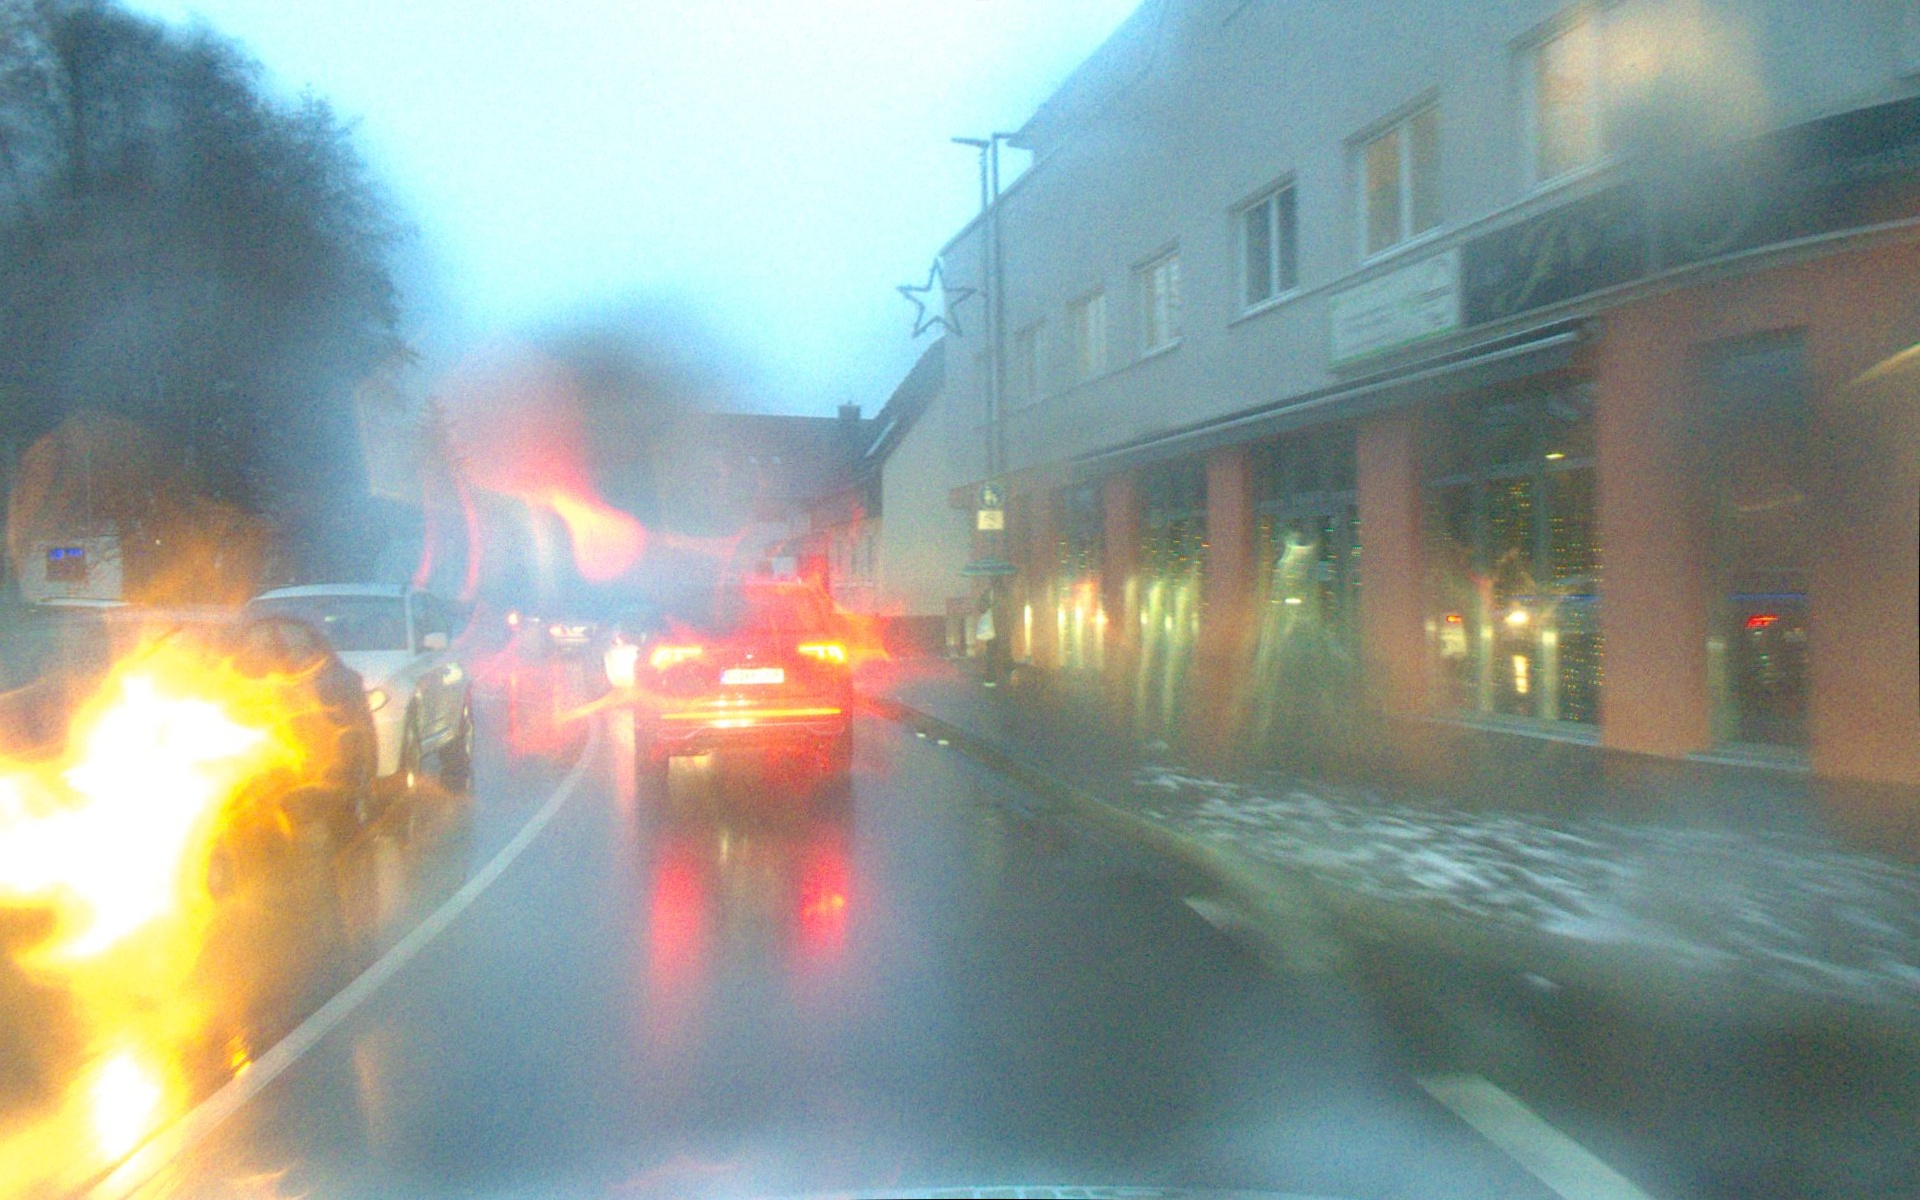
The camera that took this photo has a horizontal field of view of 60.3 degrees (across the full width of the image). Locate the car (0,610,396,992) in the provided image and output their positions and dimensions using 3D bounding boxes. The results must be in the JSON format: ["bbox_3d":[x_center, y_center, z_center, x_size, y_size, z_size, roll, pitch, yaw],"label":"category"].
[{"bbox_3d":[-4.374,0.854,8.845,1.738,1.521,4.036,-1,0,-7],"label":"car"}]

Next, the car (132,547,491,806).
[{"bbox_3d":[-5.100,0.506,13.646,1.738,1.753,4.414,-1,0,-8],"label":"car"}]

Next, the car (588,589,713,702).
[{"bbox_3d":[-5.031,0.661,26.679,1.825,1.676,3.988,0,0,-12],"label":"car"}]

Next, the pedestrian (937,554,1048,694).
[{"bbox_3d":[0.453,0.326,23.872,1.233,1.898,1.299,-3,1,-13],"label":"pedestrian"}]

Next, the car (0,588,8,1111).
[{"bbox_3d":[-3.510,0.730,2.782,1.629,1.512,3.998,-1,0,-3],"label":"car"}]

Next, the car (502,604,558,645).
[{"bbox_3d":[-15.837,0.879,60.806,1.813,1.355,3.919,-2,1,-17],"label":"car"}]

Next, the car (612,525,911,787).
[{"bbox_3d":[-1.821,0.434,15.397,2.265,1.972,5.011,-2,0,-7],"label":"car"}]

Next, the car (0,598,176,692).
[{"bbox_3d":[-17.481,0.854,31.958,4.174,1.729,1.884,2,-1,-26],"label":"car"}]

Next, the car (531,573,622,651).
[{"bbox_3d":[-10.738,0.326,46.037,2.271,1.972,4.997,-2,0,-15],"label":"car"}]
